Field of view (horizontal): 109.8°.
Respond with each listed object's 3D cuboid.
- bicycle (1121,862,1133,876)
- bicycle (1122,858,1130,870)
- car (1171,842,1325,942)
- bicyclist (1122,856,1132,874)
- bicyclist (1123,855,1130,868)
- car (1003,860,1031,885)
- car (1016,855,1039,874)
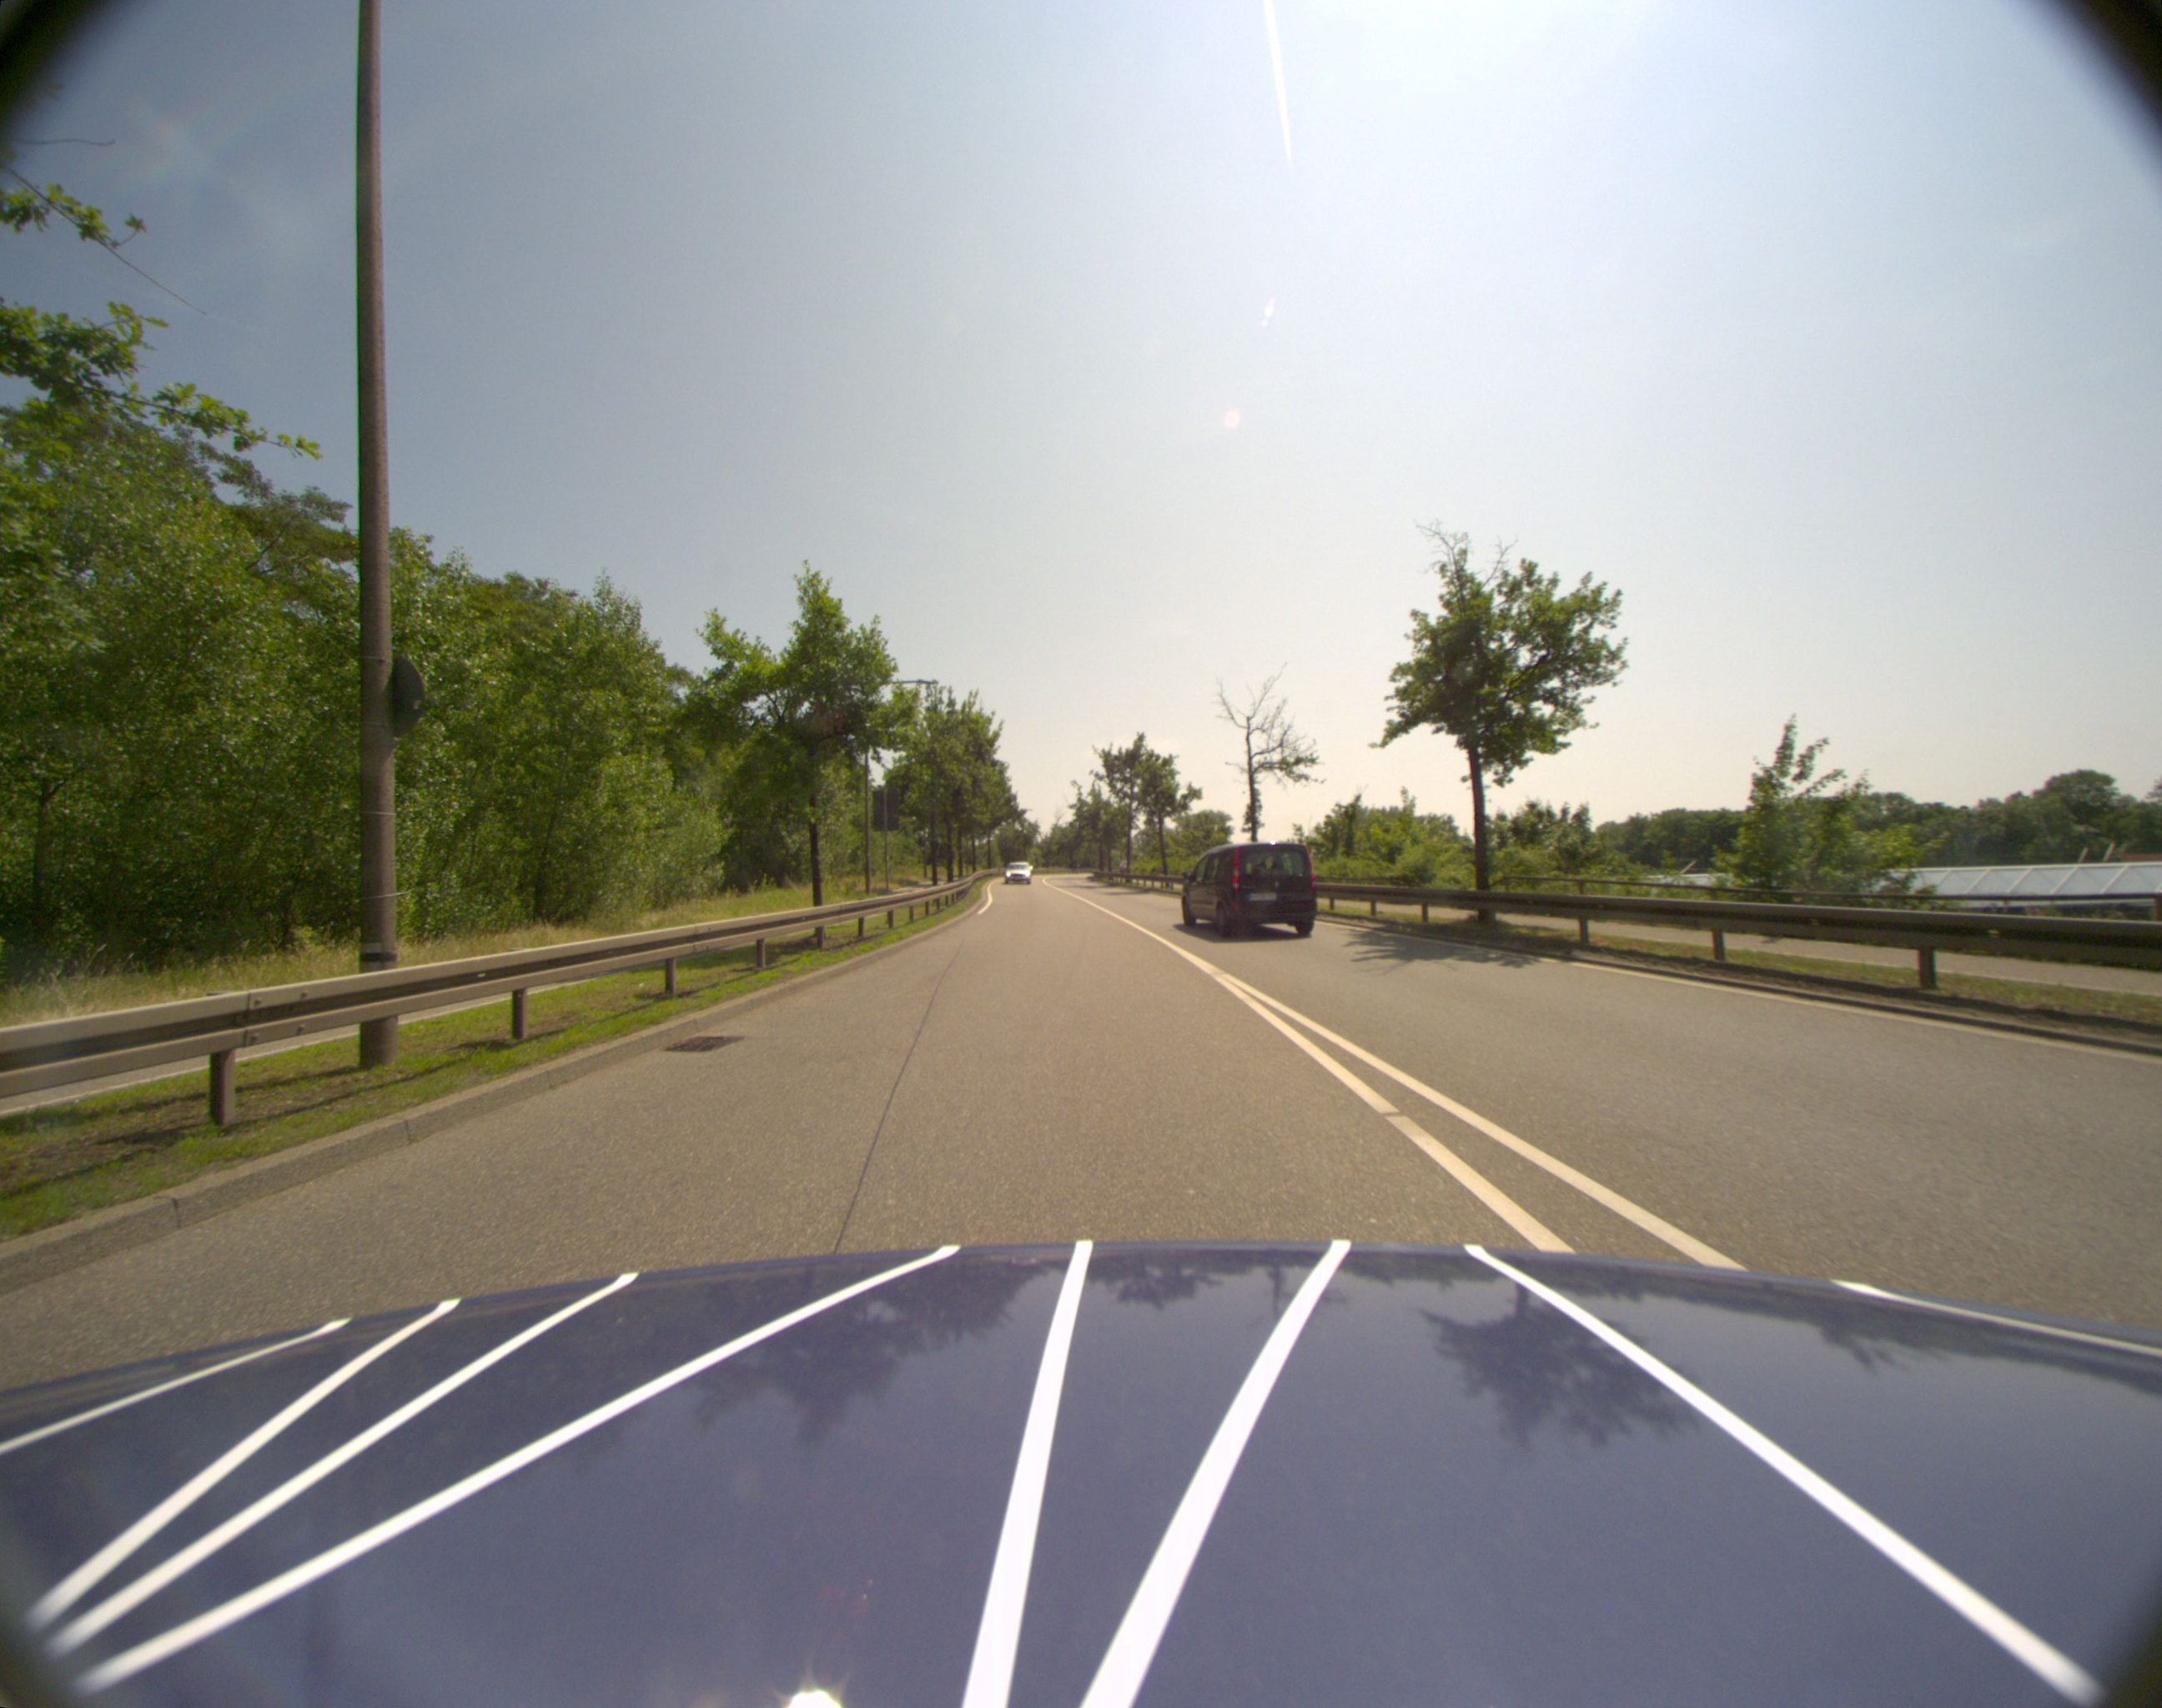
[{"bbox_3d":[3.771,1.212,62.948,0.736,1.110,2.045,2,0,-3],"label":"bicycle"},{"bbox_3d":[5.100,1.099,85.743,0.735,1.274,2.047,0,0,7],"label":"bicycle"},{"bbox_3d":[3.295,0.701,15.884,1.812,1.749,4.249,-2,0,-7],"label":"car"},{"bbox_3d":[3.793,0.906,62.908,0.731,1.457,0.824,2,0,-2],"label":"bicyclist"},{"bbox_3d":[5.091,0.856,85.713,0.743,1.480,0.757,0,0,6],"label":"bicyclist"},{"bbox_3d":[-4.270,1.201,50.944,1.764,1.490,4.231,-1,1,-4],"label":"car"},{"bbox_3d":[-4.926,0.947,70.432,1.799,1.772,4.293,0,0,1],"label":"car"}]
